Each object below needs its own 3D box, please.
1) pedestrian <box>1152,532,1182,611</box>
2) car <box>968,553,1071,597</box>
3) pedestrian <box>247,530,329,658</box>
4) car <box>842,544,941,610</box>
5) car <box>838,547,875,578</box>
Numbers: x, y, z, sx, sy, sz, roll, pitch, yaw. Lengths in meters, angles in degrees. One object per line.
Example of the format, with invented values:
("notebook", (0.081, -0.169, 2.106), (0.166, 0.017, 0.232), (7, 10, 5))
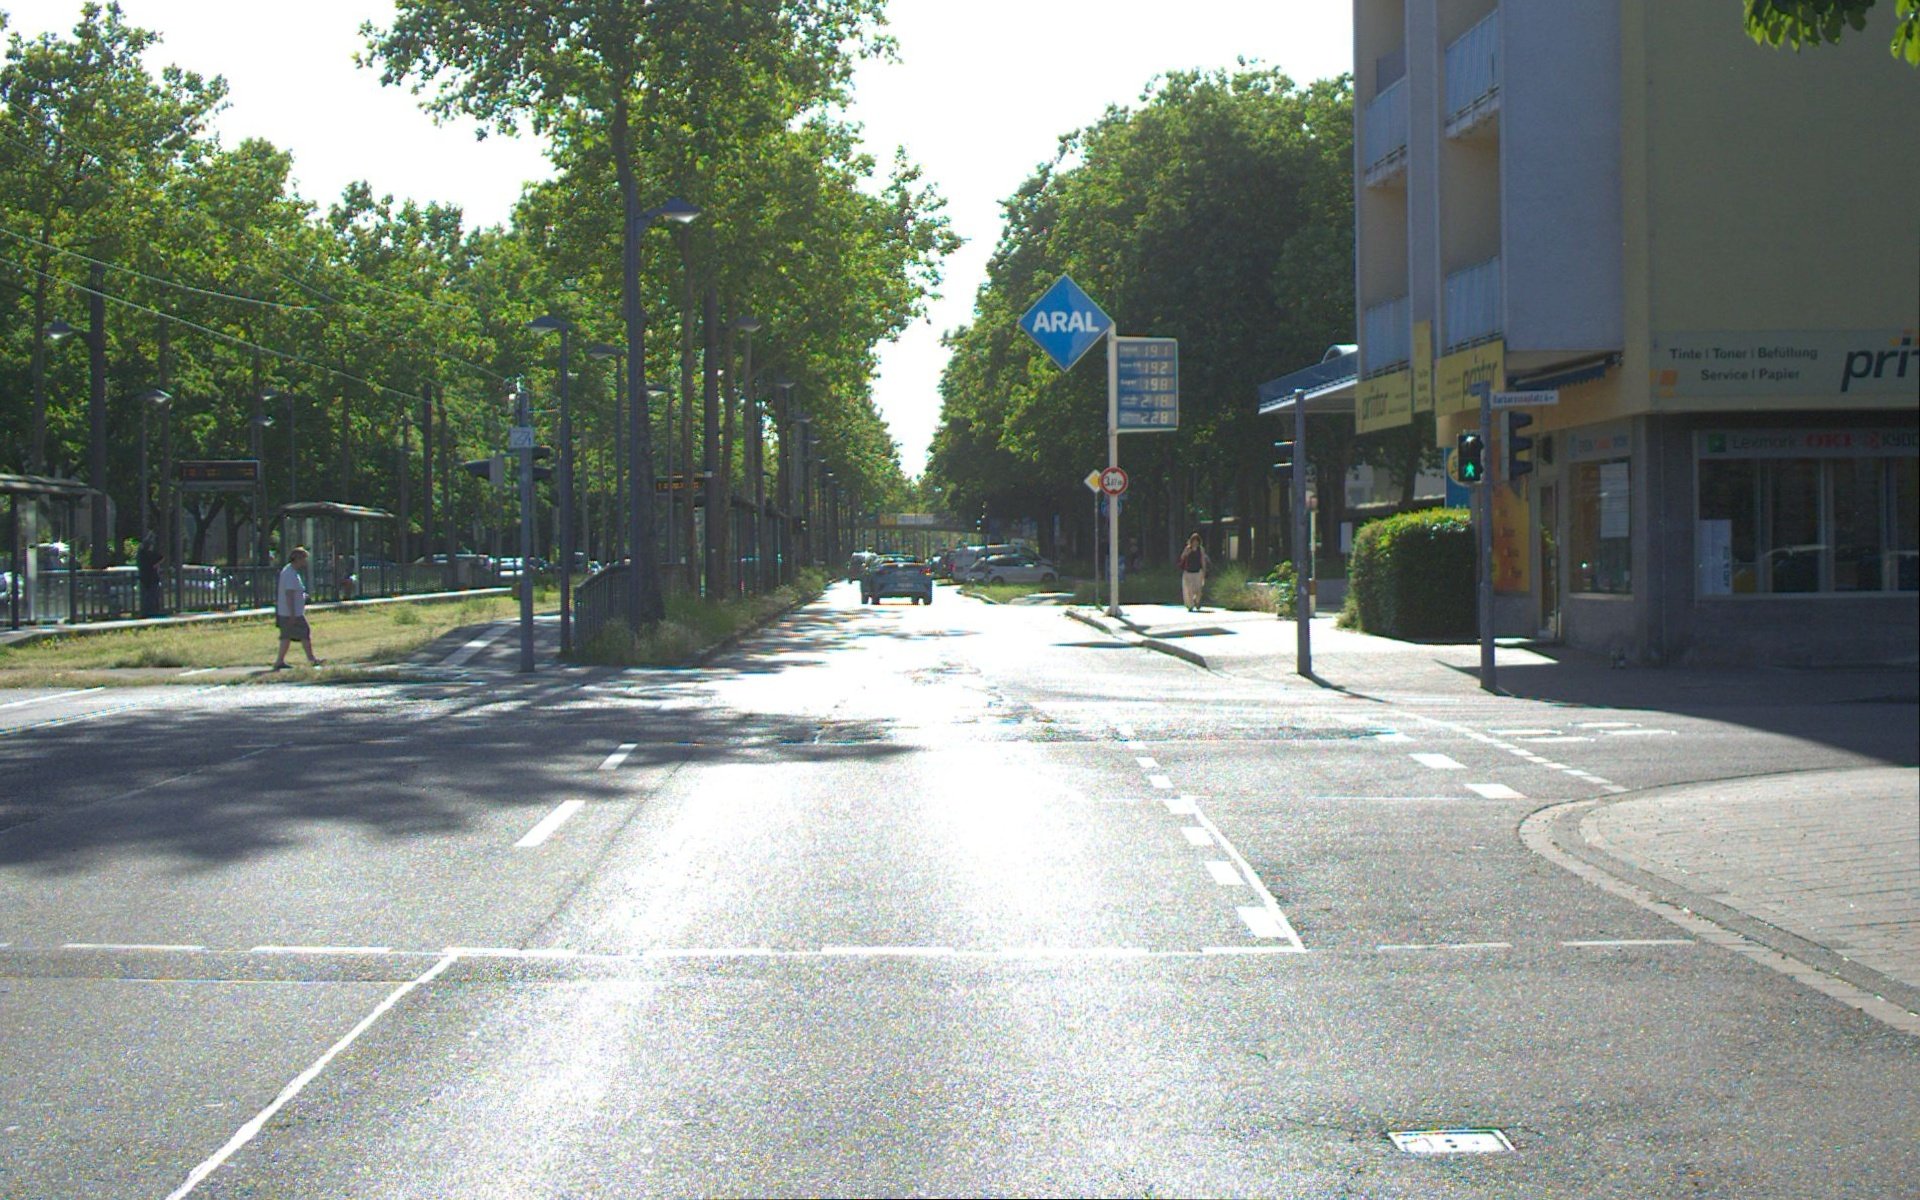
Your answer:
("pedestrian", (4.625, -0.639, 76.733), (0.574, 1.741, 0.506), (2, 1, -1))
("car", (2.529, -1.074, 146.489), (3.986, 1.744, 1.755), (2, 1, -29))
("pedestrian", (-8.659, -0.081, 44.310), (0.891, 1.601, 0.613), (2, 1, -1))
("car", (-2.063, -0.701, 102.388), (2.004, 1.853, 4.001), (2, 1, -15))
("car", (-5.560, -2.025, 184.289), (1.894, 1.605, 4.501), (2, 1, -2))
